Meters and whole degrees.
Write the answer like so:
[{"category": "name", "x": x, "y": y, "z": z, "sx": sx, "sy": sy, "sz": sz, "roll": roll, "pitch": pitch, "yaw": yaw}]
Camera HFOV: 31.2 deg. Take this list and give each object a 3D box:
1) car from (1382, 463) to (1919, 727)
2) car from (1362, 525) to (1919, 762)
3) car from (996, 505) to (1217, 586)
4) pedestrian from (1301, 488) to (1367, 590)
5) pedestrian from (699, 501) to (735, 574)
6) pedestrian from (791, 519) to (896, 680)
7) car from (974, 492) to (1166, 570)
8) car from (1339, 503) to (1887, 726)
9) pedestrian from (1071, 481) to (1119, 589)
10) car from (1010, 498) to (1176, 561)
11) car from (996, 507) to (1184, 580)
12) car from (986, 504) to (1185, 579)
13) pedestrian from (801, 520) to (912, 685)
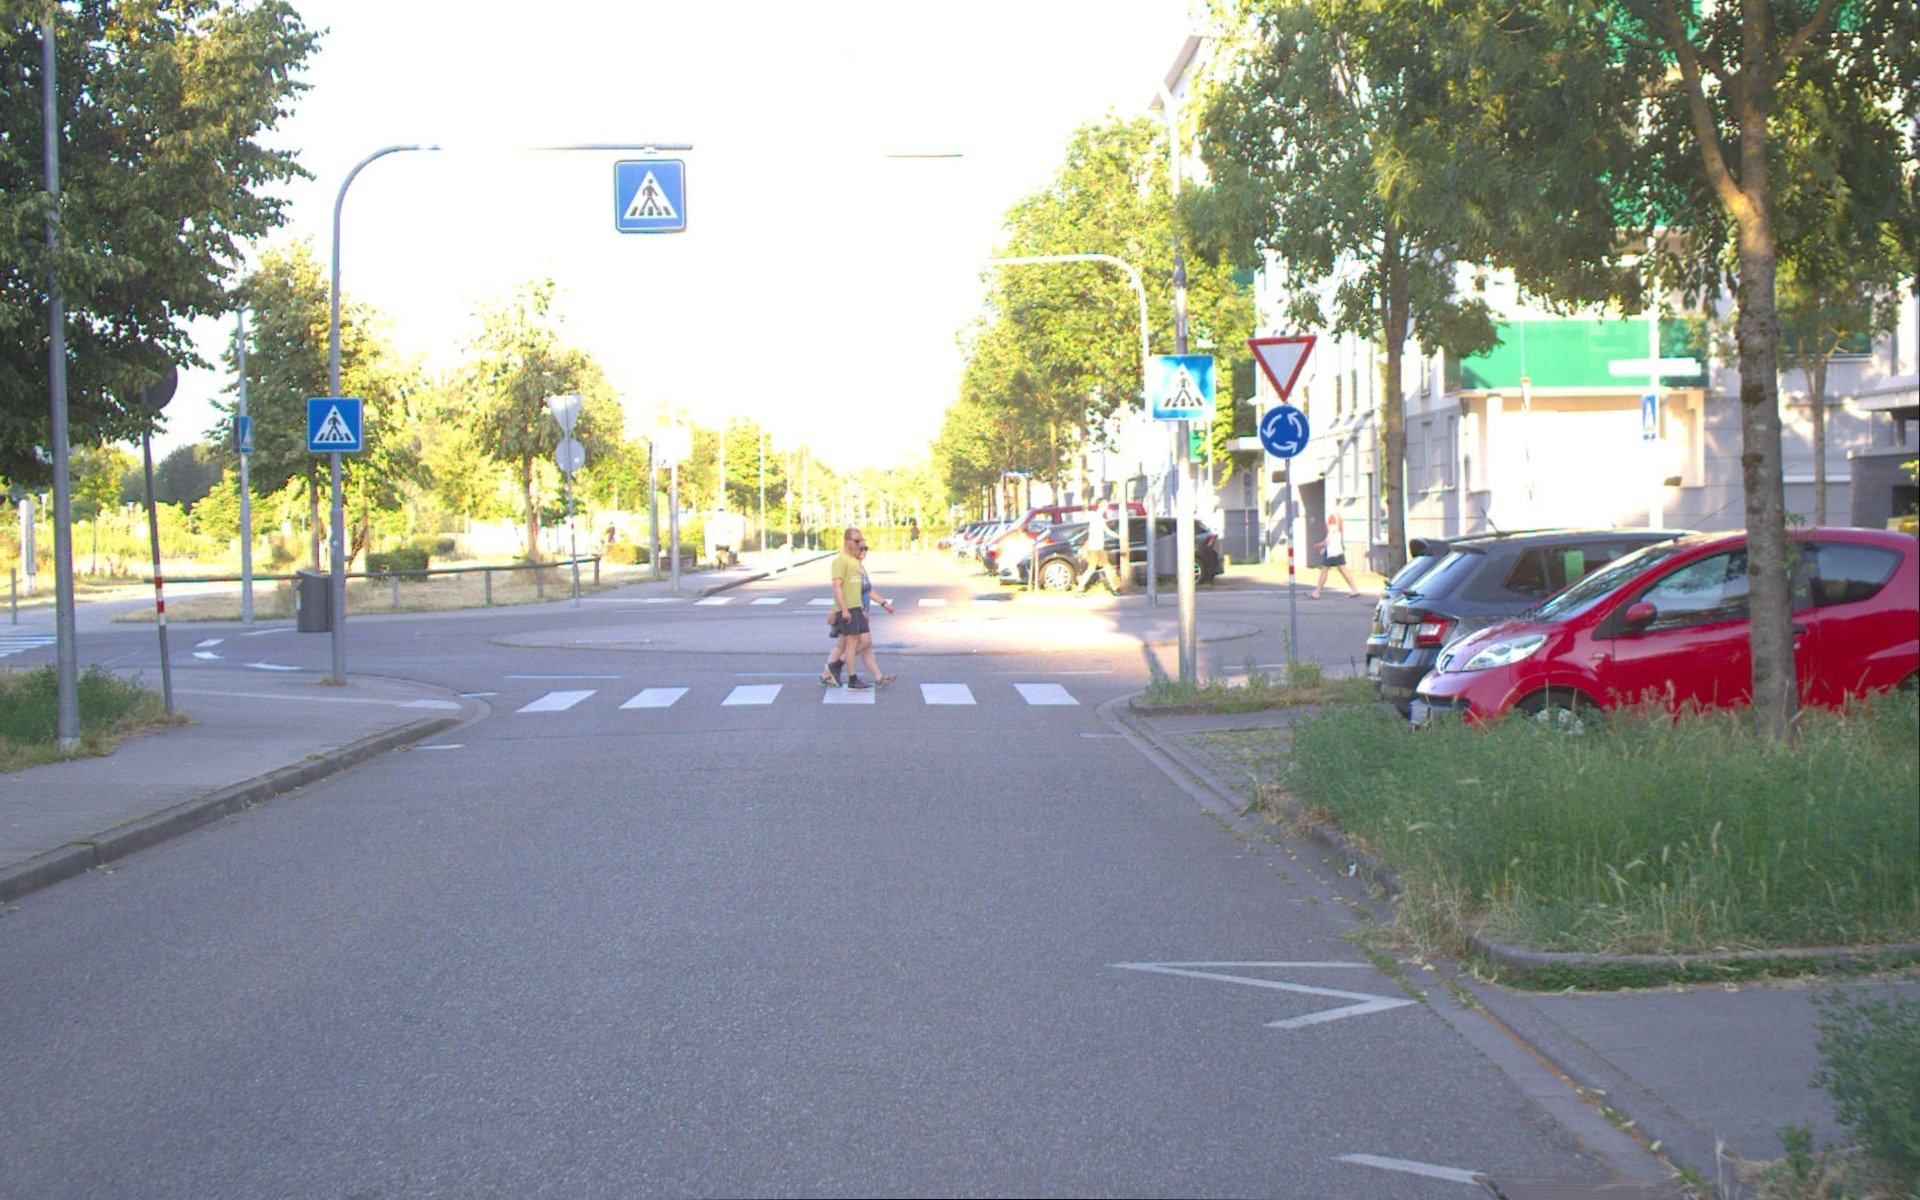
[{"category": "car", "x": 4.615, "y": -0.058, "z": 21.005, "sx": 3.802, "sy": 1.503, "sz": 1.679, "roll": -1, "pitch": 1, "yaw": -3}, {"category": "car", "x": 4.799, "y": 0.267, "z": 23.619, "sx": 3.802, "sy": 1.503, "sz": 1.679, "roll": -1, "pitch": 1, "yaw": -3}, {"category": "car", "x": 3.007, "y": -1.142, "z": 71.356, "sx": 4.484, "sy": 1.590, "sz": 2.000, "roll": -1, "pitch": 1, "yaw": 1}, {"category": "pedestrian", "x": 6.586, "y": -1.082, "z": 60.570, "sx": 1.003, "sy": 1.782, "sz": 0.762, "roll": 0, "pitch": 1, "yaw": -7}, {"category": "pedestrian", "x": -6.762, "y": -1.735, "z": 95.528, "sx": 0.866, "sy": 2.007, "sz": 0.790, "roll": -1, "pitch": 1, "yaw": -11}, {"category": "pedestrian", "x": -1.242, "y": -0.012, "z": 36.671, "sx": 0.983, "sy": 1.687, "sz": 0.700, "roll": -1, "pitch": 1, "yaw": -12}, {"category": "car", "x": 2.995, "y": -1.903, "z": 94.566, "sx": 5.002, "sy": 2.038, "sz": 2.251, "roll": -1, "pitch": 1, "yaw": -5}, {"category": "car", "x": 4.941, "y": 0.082, "z": 26.310, "sx": 3.802, "sy": 1.503, "sz": 1.679, "roll": -2, "pitch": 3, "yaw": -3}, {"category": "pedestrian", "x": 2.537, "y": -1.227, "z": 64.559, "sx": 0.846, "sy": 2.007, "sz": 0.943, "roll": -1, "pitch": 1, "yaw": 5}, {"category": "car", "x": 3.514, "y": -1.889, "z": 91.516, "sx": 4.263, "sy": 1.590, "sz": 2.000, "roll": -1, "pitch": 1, "yaw": -1}, {"category": "car", "x": 2.968, "y": -1.307, "z": 79.283, "sx": 4.263, "sy": 1.590, "sz": 2.000, "roll": -1, "pitch": 1, "yaw": 1}, {"category": "car", "x": 2.760, "y": -1.309, "z": 76.555, "sx": 4.355, "sy": 1.590, "sz": 2.000, "roll": -1, "pitch": 1, "yaw": 1}, {"category": "pedestrian", "x": -1.083, "y": 0.017, "z": 35.949, "sx": 1.018, "sy": 1.687, "sz": 0.760, "roll": -1, "pitch": 1, "yaw": -12}]
